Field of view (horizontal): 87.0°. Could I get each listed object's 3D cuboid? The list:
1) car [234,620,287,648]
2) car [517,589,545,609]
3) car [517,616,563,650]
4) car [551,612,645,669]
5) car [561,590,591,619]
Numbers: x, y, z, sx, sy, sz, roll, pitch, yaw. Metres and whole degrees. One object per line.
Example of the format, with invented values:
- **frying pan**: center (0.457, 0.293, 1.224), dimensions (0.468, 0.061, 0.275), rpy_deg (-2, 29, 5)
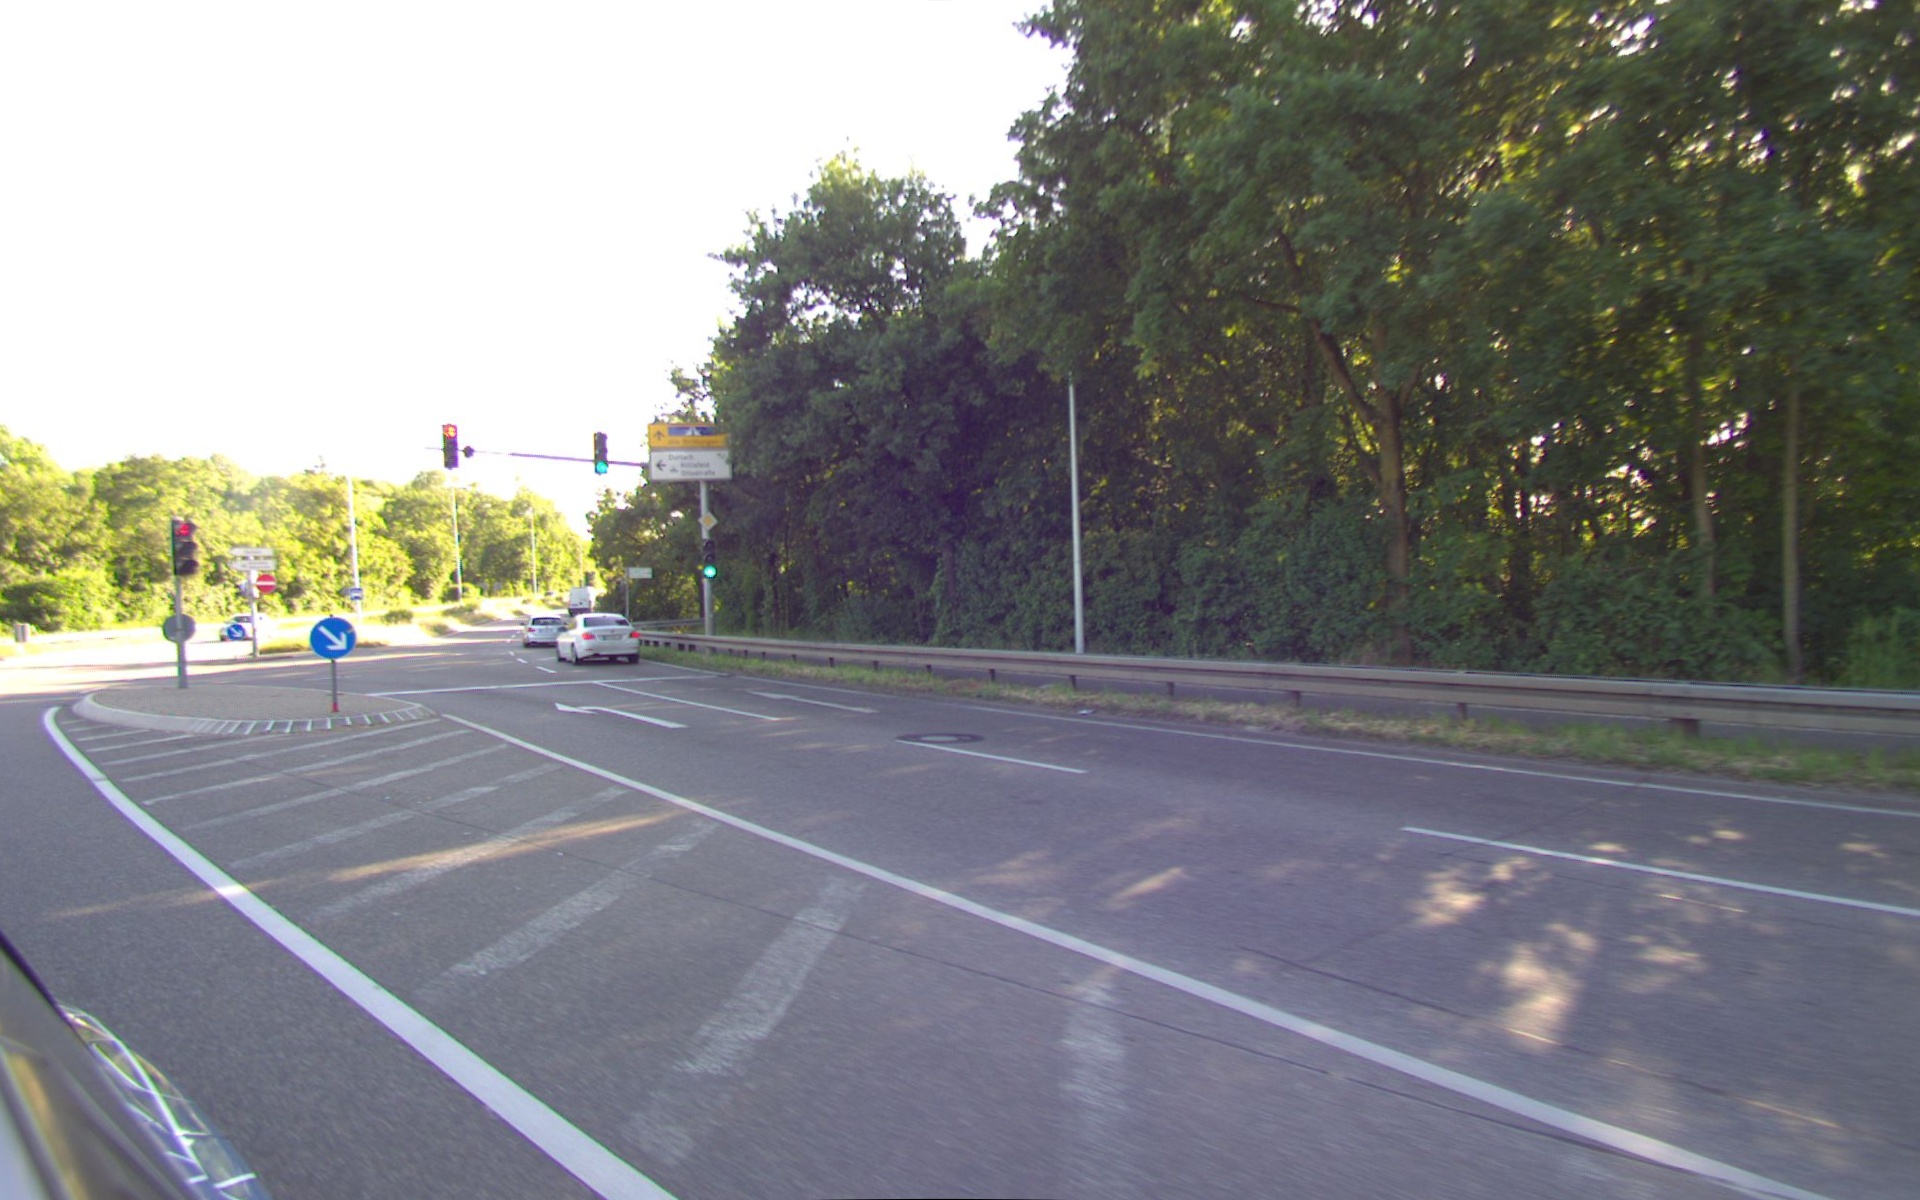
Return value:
- **car**: center (-40.638, 1.931, 58.863), dimensions (1.735, 1.447, 4.344), rpy_deg (-1, 0, -24)
- **car**: center (-44.780, -0.111, 105.760), dimensions (1.967, 2.029, 4.010), rpy_deg (-1, 0, -12)
- **car**: center (-18.369, 1.409, 44.175), dimensions (1.676, 1.400, 4.542), rpy_deg (0, -1, -25)
- **car**: center (-10.796, 1.144, 29.988), dimensions (1.821, 1.499, 4.643), rpy_deg (-1, 0, -30)
- **car**: center (-34.611, 0.424, 91.214), dimensions (2.231, 2.572, 6.419), rpy_deg (0, 0, -23)
